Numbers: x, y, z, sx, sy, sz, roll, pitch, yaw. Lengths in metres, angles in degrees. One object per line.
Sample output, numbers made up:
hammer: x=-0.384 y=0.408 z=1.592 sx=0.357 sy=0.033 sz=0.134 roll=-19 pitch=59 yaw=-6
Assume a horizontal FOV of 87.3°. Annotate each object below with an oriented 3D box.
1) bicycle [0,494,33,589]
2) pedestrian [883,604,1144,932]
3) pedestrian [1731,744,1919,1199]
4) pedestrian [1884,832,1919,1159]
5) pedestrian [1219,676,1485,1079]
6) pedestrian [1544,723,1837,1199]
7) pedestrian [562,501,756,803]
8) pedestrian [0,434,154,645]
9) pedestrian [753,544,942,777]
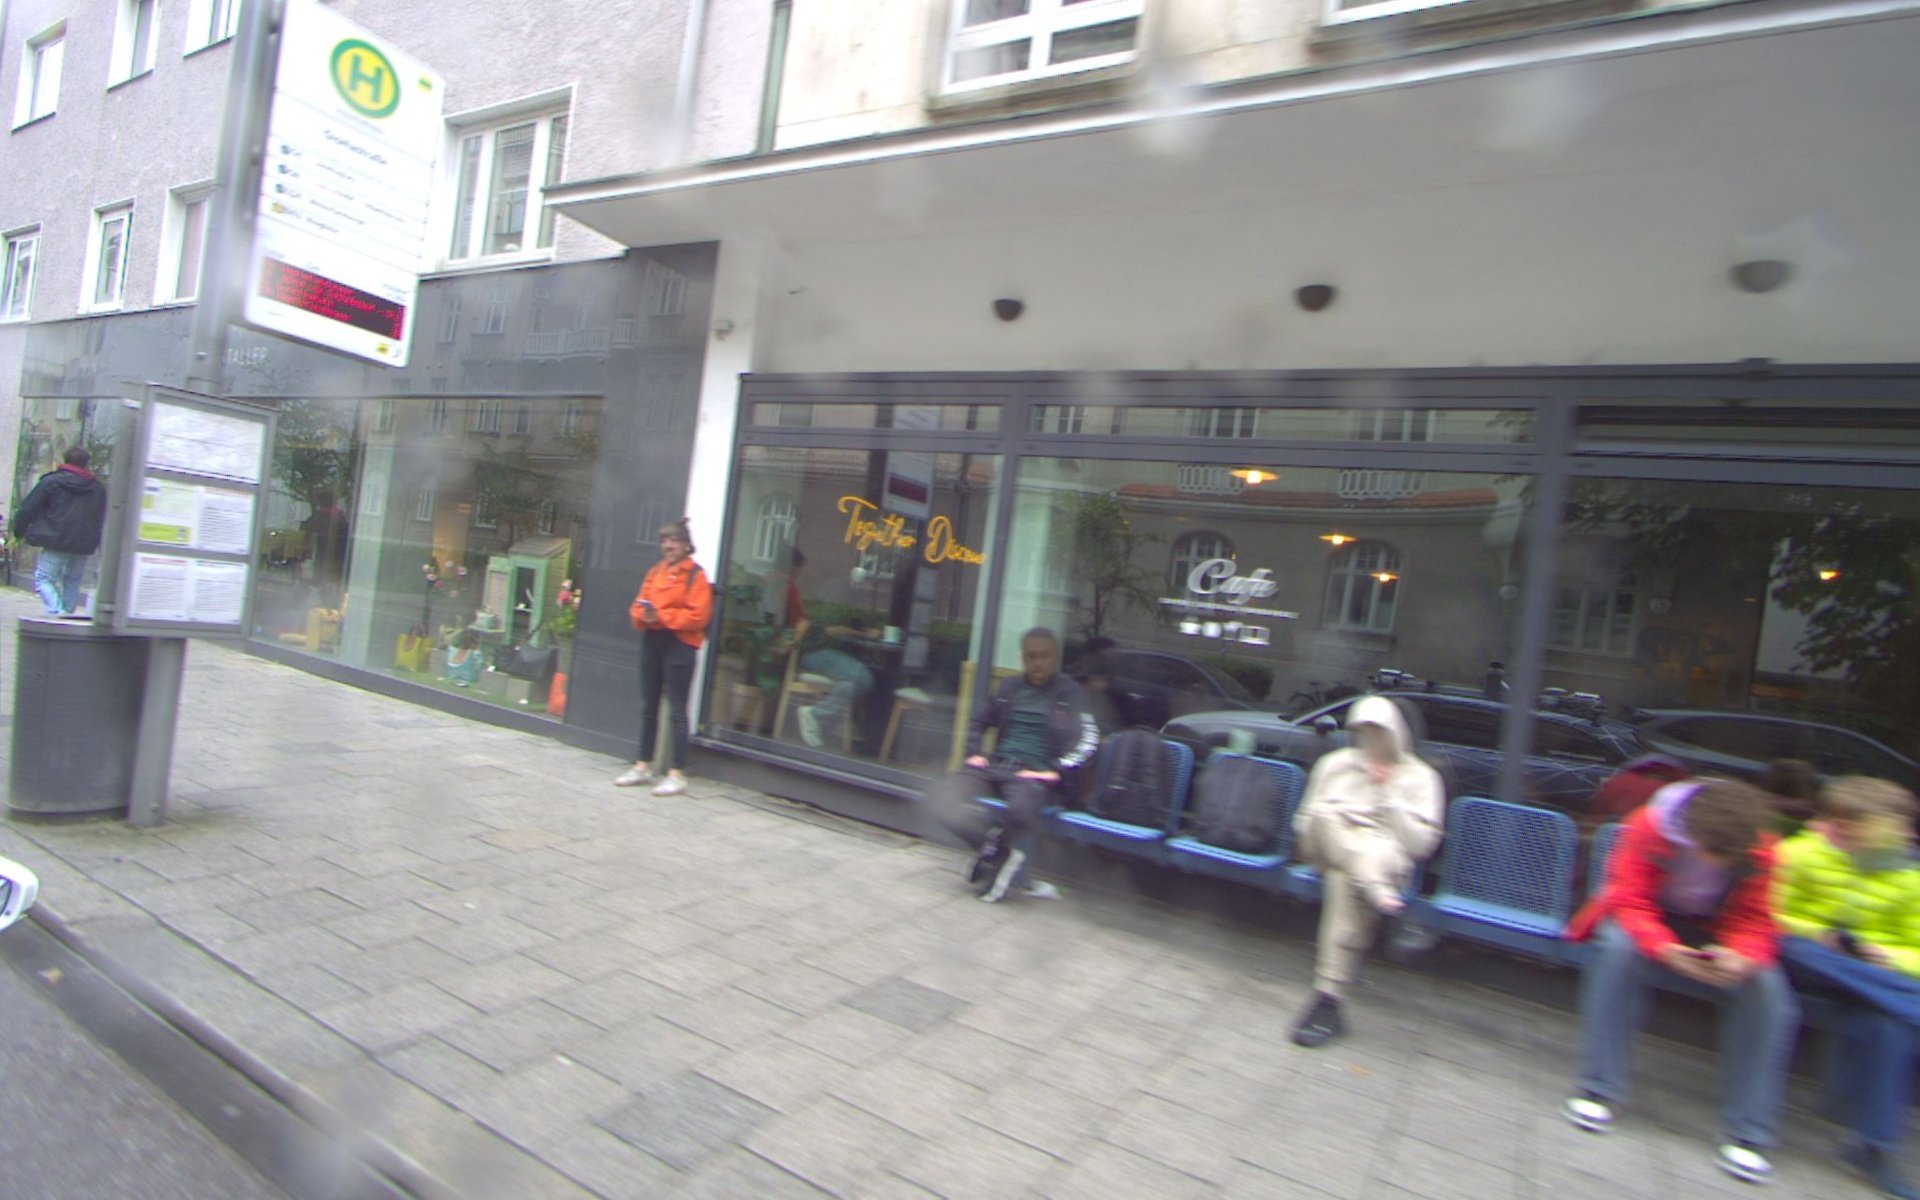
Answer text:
bicycle: x=-13.959 y=-0.879 z=14.417 sx=1.790 sy=1.277 sz=0.512 roll=7 pitch=4 yaw=32
pedestrian: x=0.284 y=0.775 z=5.018 sx=0.848 sy=1.369 sz=0.861 roll=7 pitch=0 yaw=32
pedestrian: x=2.893 y=1.139 z=3.217 sx=0.487 sy=1.252 sz=0.681 roll=7 pitch=1 yaw=32
pedestrian: x=3.532 y=0.969 z=3.143 sx=0.672 sy=1.755 sz=0.658 roll=7 pitch=1 yaw=32
pedestrian: x=1.582 y=0.972 z=3.967 sx=0.657 sy=1.252 sz=1.097 roll=7 pitch=0 yaw=32
pedestrian: x=2.321 y=1.080 z=3.276 sx=0.575 sy=1.252 sz=0.708 roll=7 pitch=1 yaw=32
pedestrian: x=-1.910 y=0.315 z=6.415 sx=0.734 sy=1.755 sz=0.703 roll=7 pitch=1 yaw=32
pedestrian: x=-8.833 y=-0.588 z=9.945 sx=1.159 sy=1.935 sz=0.927 roll=7 pitch=2 yaw=32
pedestrian: x=-0.752 y=0.393 z=6.821 sx=0.829 sy=1.405 sz=0.771 roll=7 pitch=1 yaw=31
